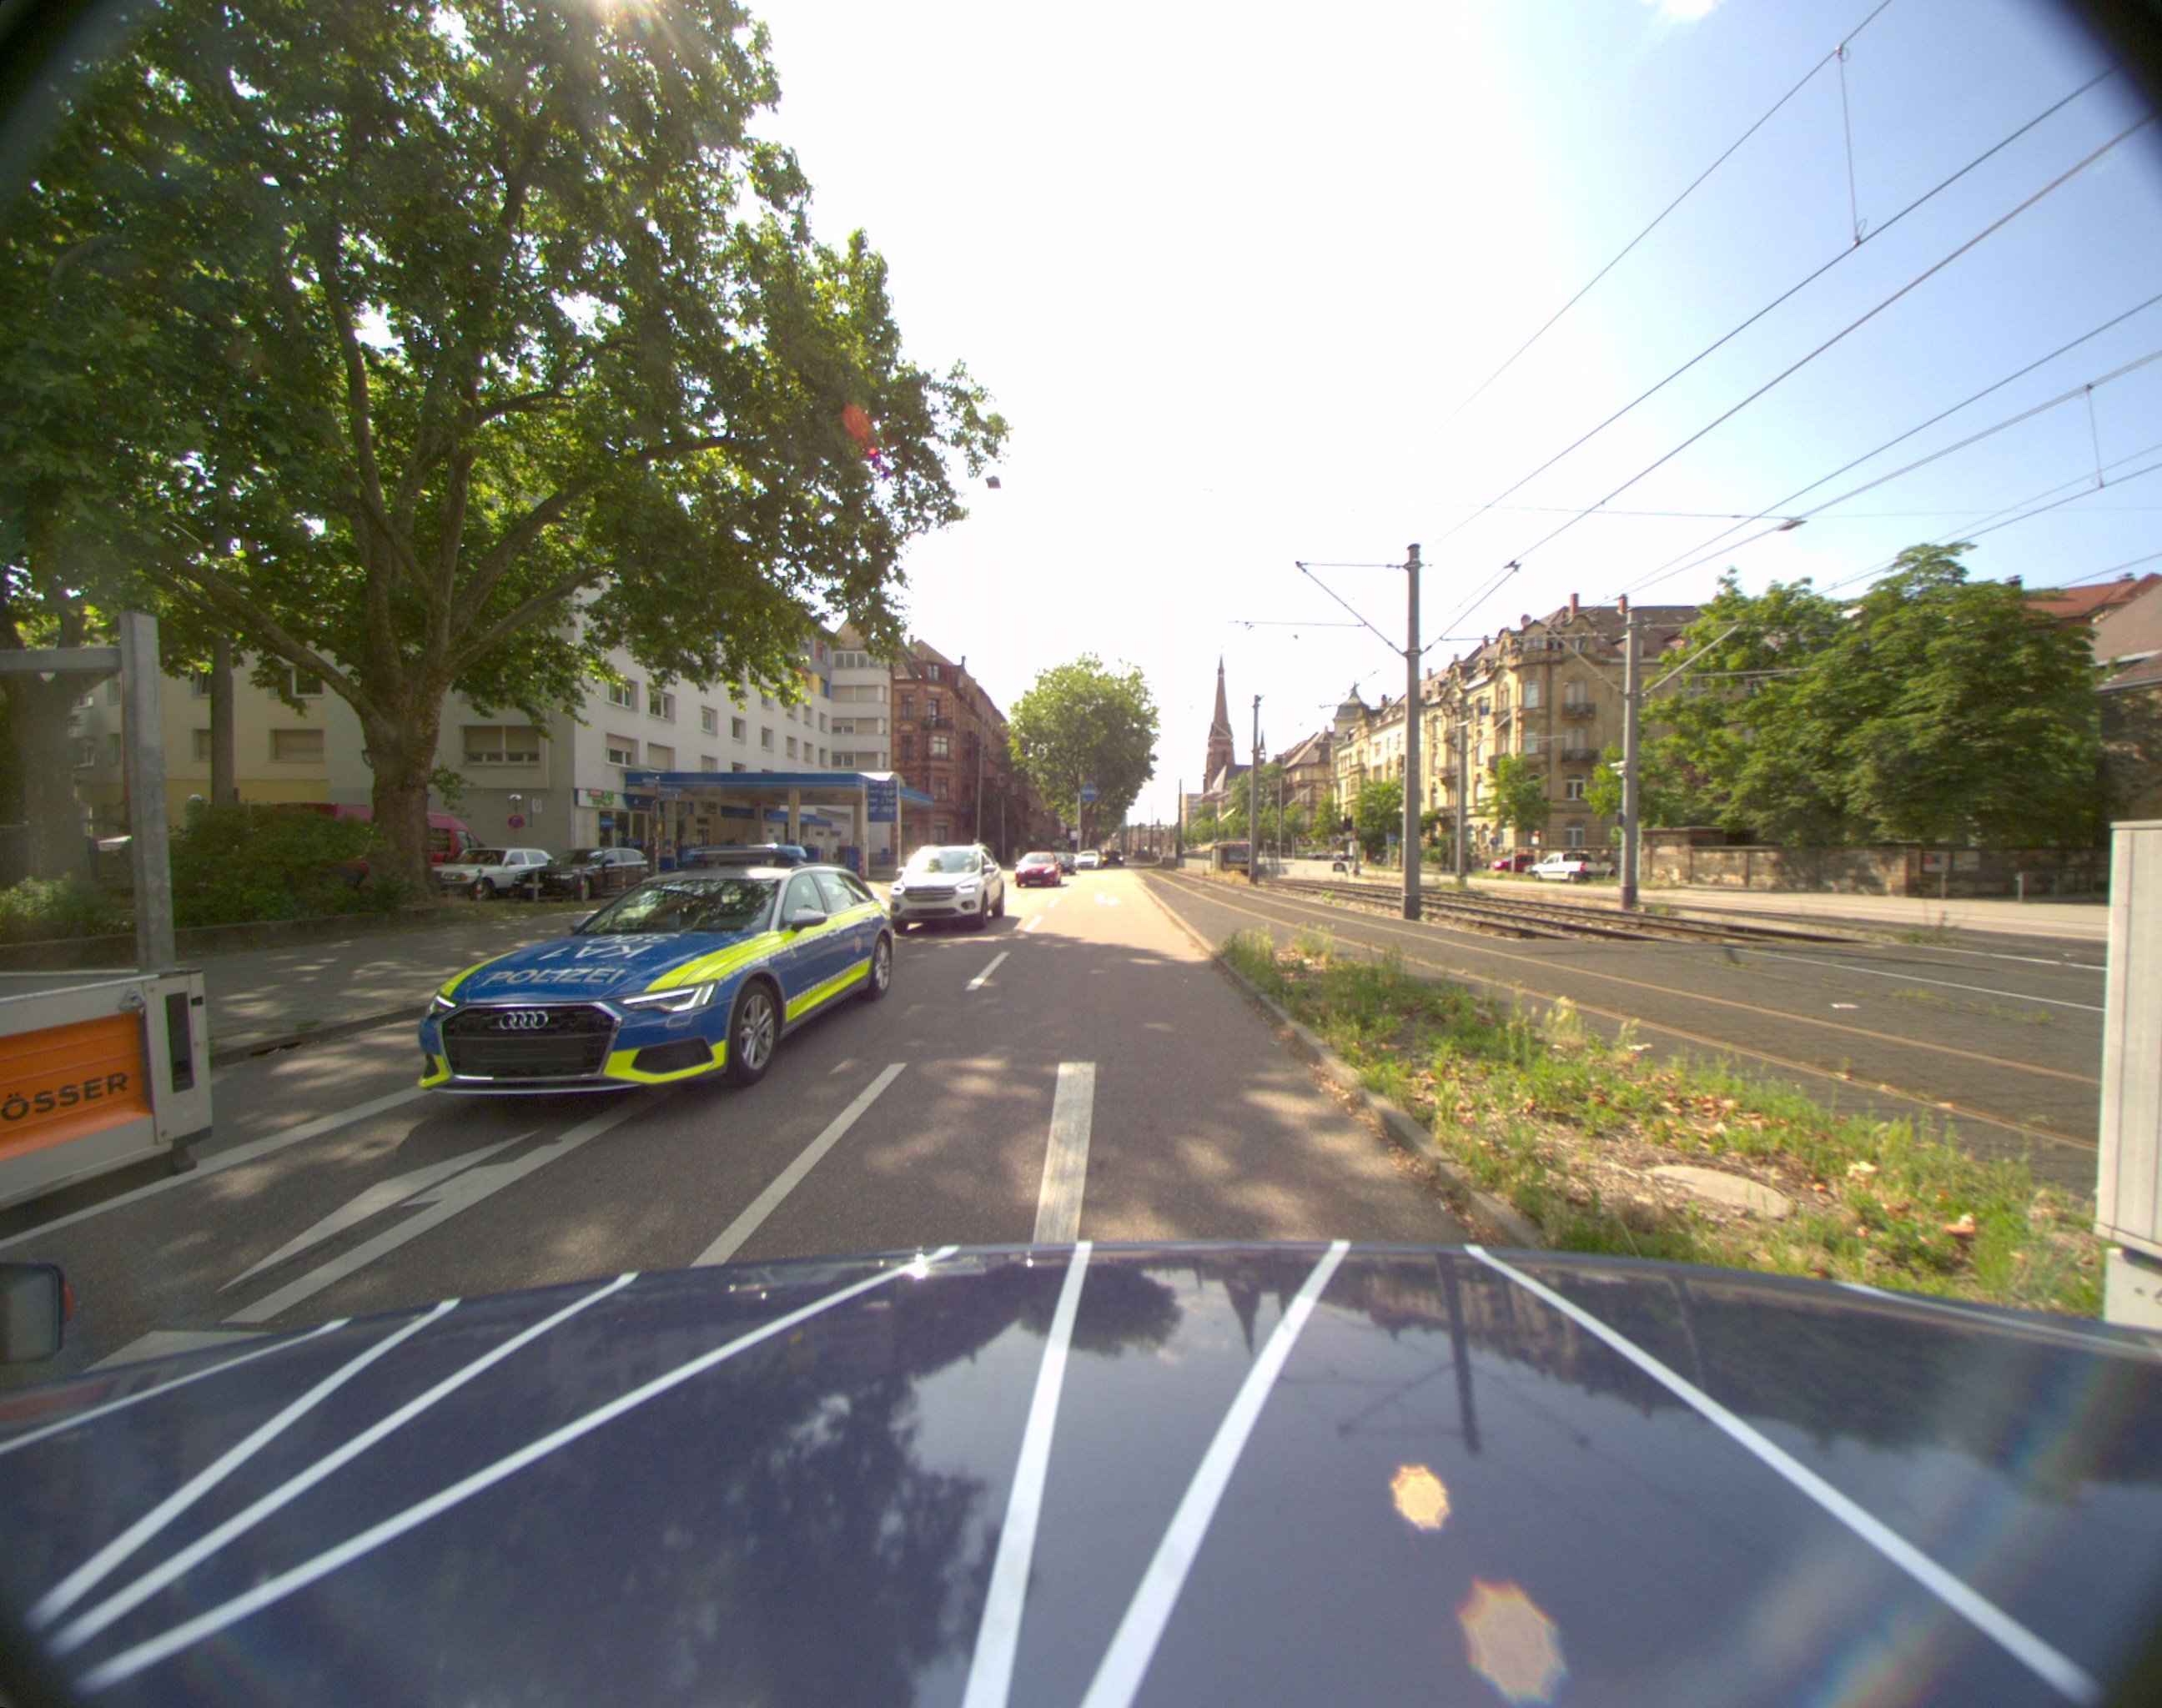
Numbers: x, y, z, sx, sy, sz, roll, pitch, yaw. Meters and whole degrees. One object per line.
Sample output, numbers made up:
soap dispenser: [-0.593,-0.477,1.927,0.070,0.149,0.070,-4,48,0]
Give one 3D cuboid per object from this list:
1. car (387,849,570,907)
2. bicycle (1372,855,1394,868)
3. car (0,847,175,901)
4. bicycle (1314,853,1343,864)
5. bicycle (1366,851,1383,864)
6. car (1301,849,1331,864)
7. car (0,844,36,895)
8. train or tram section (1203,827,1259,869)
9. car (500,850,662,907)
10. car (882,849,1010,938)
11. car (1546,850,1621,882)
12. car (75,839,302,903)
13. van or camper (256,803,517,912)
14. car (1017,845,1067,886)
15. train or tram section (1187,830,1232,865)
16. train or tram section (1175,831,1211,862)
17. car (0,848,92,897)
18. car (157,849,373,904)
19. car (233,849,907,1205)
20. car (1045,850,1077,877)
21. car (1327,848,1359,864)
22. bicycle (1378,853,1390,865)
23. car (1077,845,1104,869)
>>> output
car: [-16.283,0.570,20.841,1.756,1.402,3.999,0,1,1]
bicycle: [25.826,0.665,65.063,1.710,1.063,0.471,0,1,-4]
car: [-28.261,0.532,20.898,1.766,1.356,3.999,-2,1,1]
bicycle: [26.271,0.483,80.641,2.957,1.239,0.792,0,1,-11]
bicycle: [29.064,0.362,75.300,0.659,1.241,2.943,-3,0,2]
car: [25.977,0.296,84.168,1.803,1.518,4.488,-2,1,-2]
car: [-33.396,0.518,21.617,1.663,1.511,3.999,-2,1,1]
train or tram section: [13.699,-0.578,70.629,2.860,3.559,12.834,0,1,1]
car: [-13.550,0.599,20.910,1.756,1.402,3.999,0,1,1]
car: [-2.699,0.710,16.320,1.764,1.597,4.679,-1,1,1]
car: [24.952,0.550,37.908,1.671,1.408,3.846,2,1,10]
car: [-24.644,0.411,21.233,1.529,1.595,3.999,-1,1,1]
van or camper: [-19.117,0.048,21.412,2.107,2.626,5.349,-2,1,3]
car: [-1.609,0.446,32.492,1.764,1.597,4.679,0,1,1]
train or tram section: [13.907,-0.766,83.501,2.860,3.559,12.834,0,1,1]
train or tram section: [14.041,-0.968,96.352,2.860,3.559,12.834,0,1,1]
car: [-30.755,0.557,20.906,1.766,1.356,3.999,-2,1,1]
car: [-21.977,0.544,20.729,1.477,1.286,3.999,-2,1,1]
car: [-3.054,0.826,6.237,1.871,1.643,5.153,-1,1,2]
car: [-1.179,0.535,46.503,1.764,1.490,4.186,0,1,1]
car: [25.541,0.171,74.153,1.690,1.494,4.708,0,1,2]
bicycle: [28.874,0.466,72.449,0.428,1.133,2.023,-2,1,2]
car: [0.750,0.169,58.322,1.952,1.598,5.074,0,2,1]
